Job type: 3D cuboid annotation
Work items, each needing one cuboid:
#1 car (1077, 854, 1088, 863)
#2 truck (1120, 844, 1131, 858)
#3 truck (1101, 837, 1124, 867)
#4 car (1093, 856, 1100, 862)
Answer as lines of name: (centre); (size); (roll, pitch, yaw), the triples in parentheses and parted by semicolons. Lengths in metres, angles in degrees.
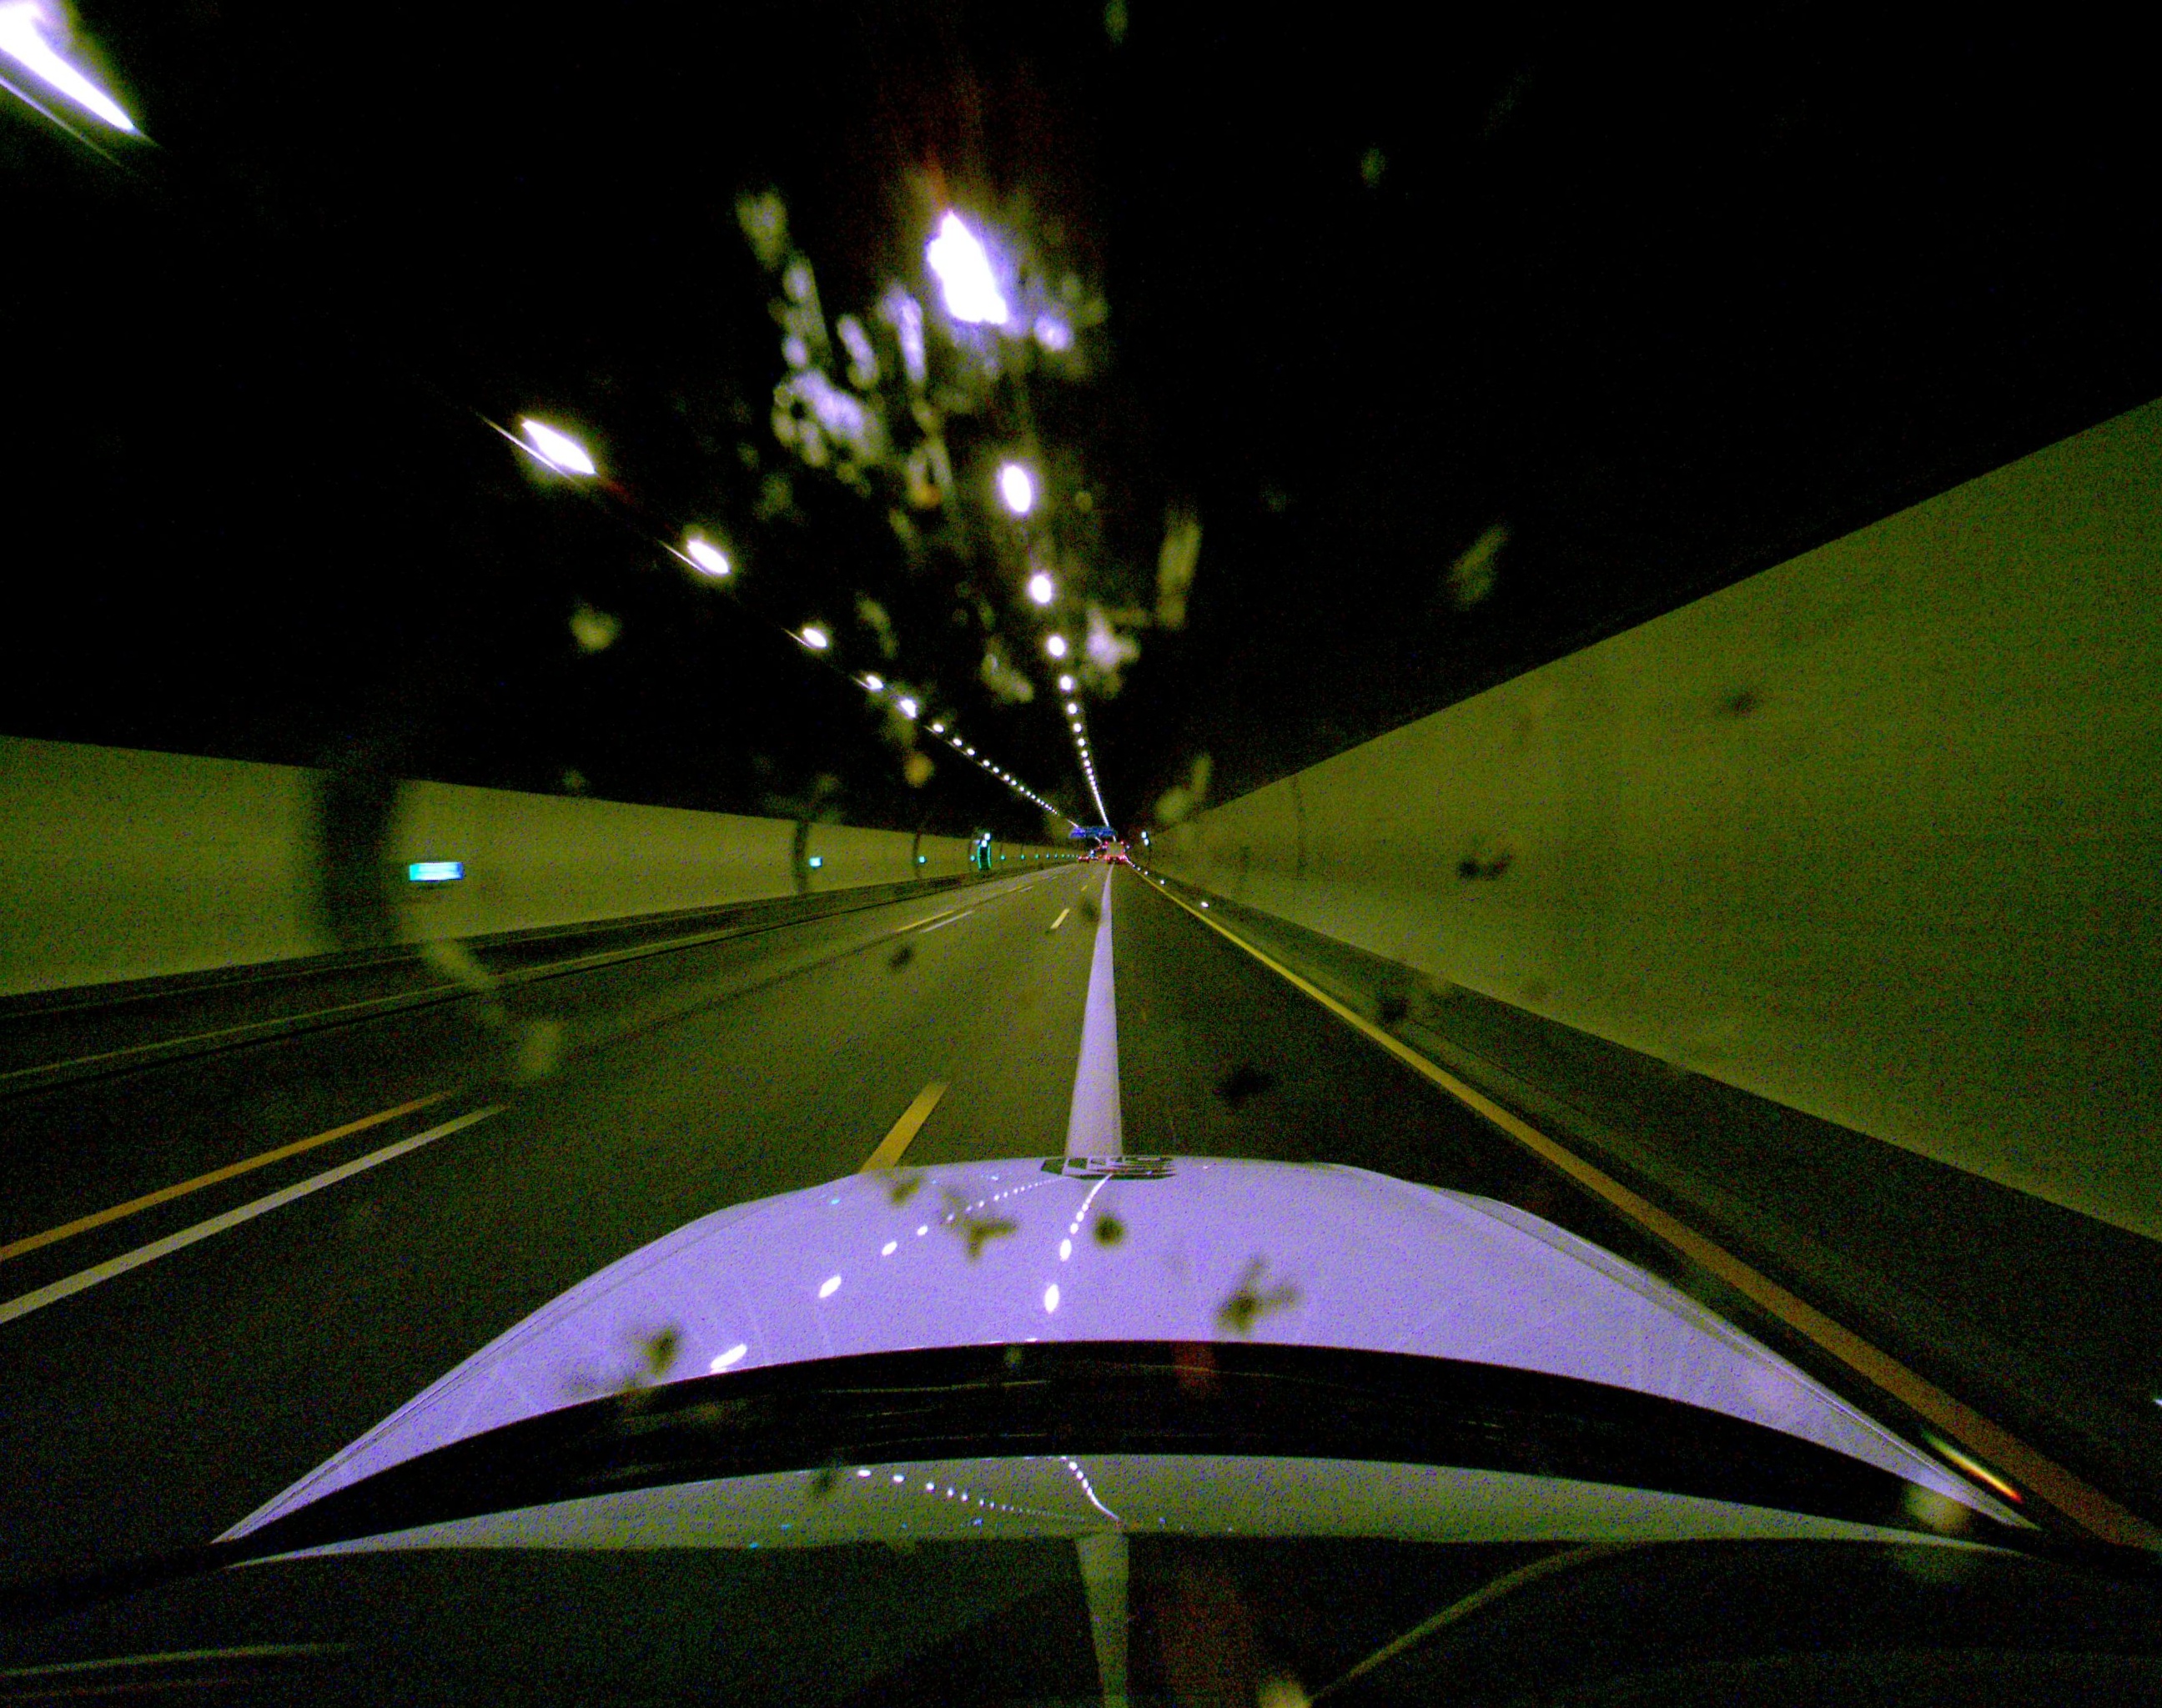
car: (0.292, 0.743, 149.002); (1.807, 1.618, 4.000); (-1, 0, 0)
truck: (13.605, -0.995, 249.607); (2.912, 4.047, 14.032); (-2, 0, 1)
truck: (5.085, -0.306, 135.052); (3.267, 4.650, 17.286); (-2, 0, 1)
car: (3.900, 1.258, 204.777); (1.807, 1.520, 3.999); (-1, 2, -1)
